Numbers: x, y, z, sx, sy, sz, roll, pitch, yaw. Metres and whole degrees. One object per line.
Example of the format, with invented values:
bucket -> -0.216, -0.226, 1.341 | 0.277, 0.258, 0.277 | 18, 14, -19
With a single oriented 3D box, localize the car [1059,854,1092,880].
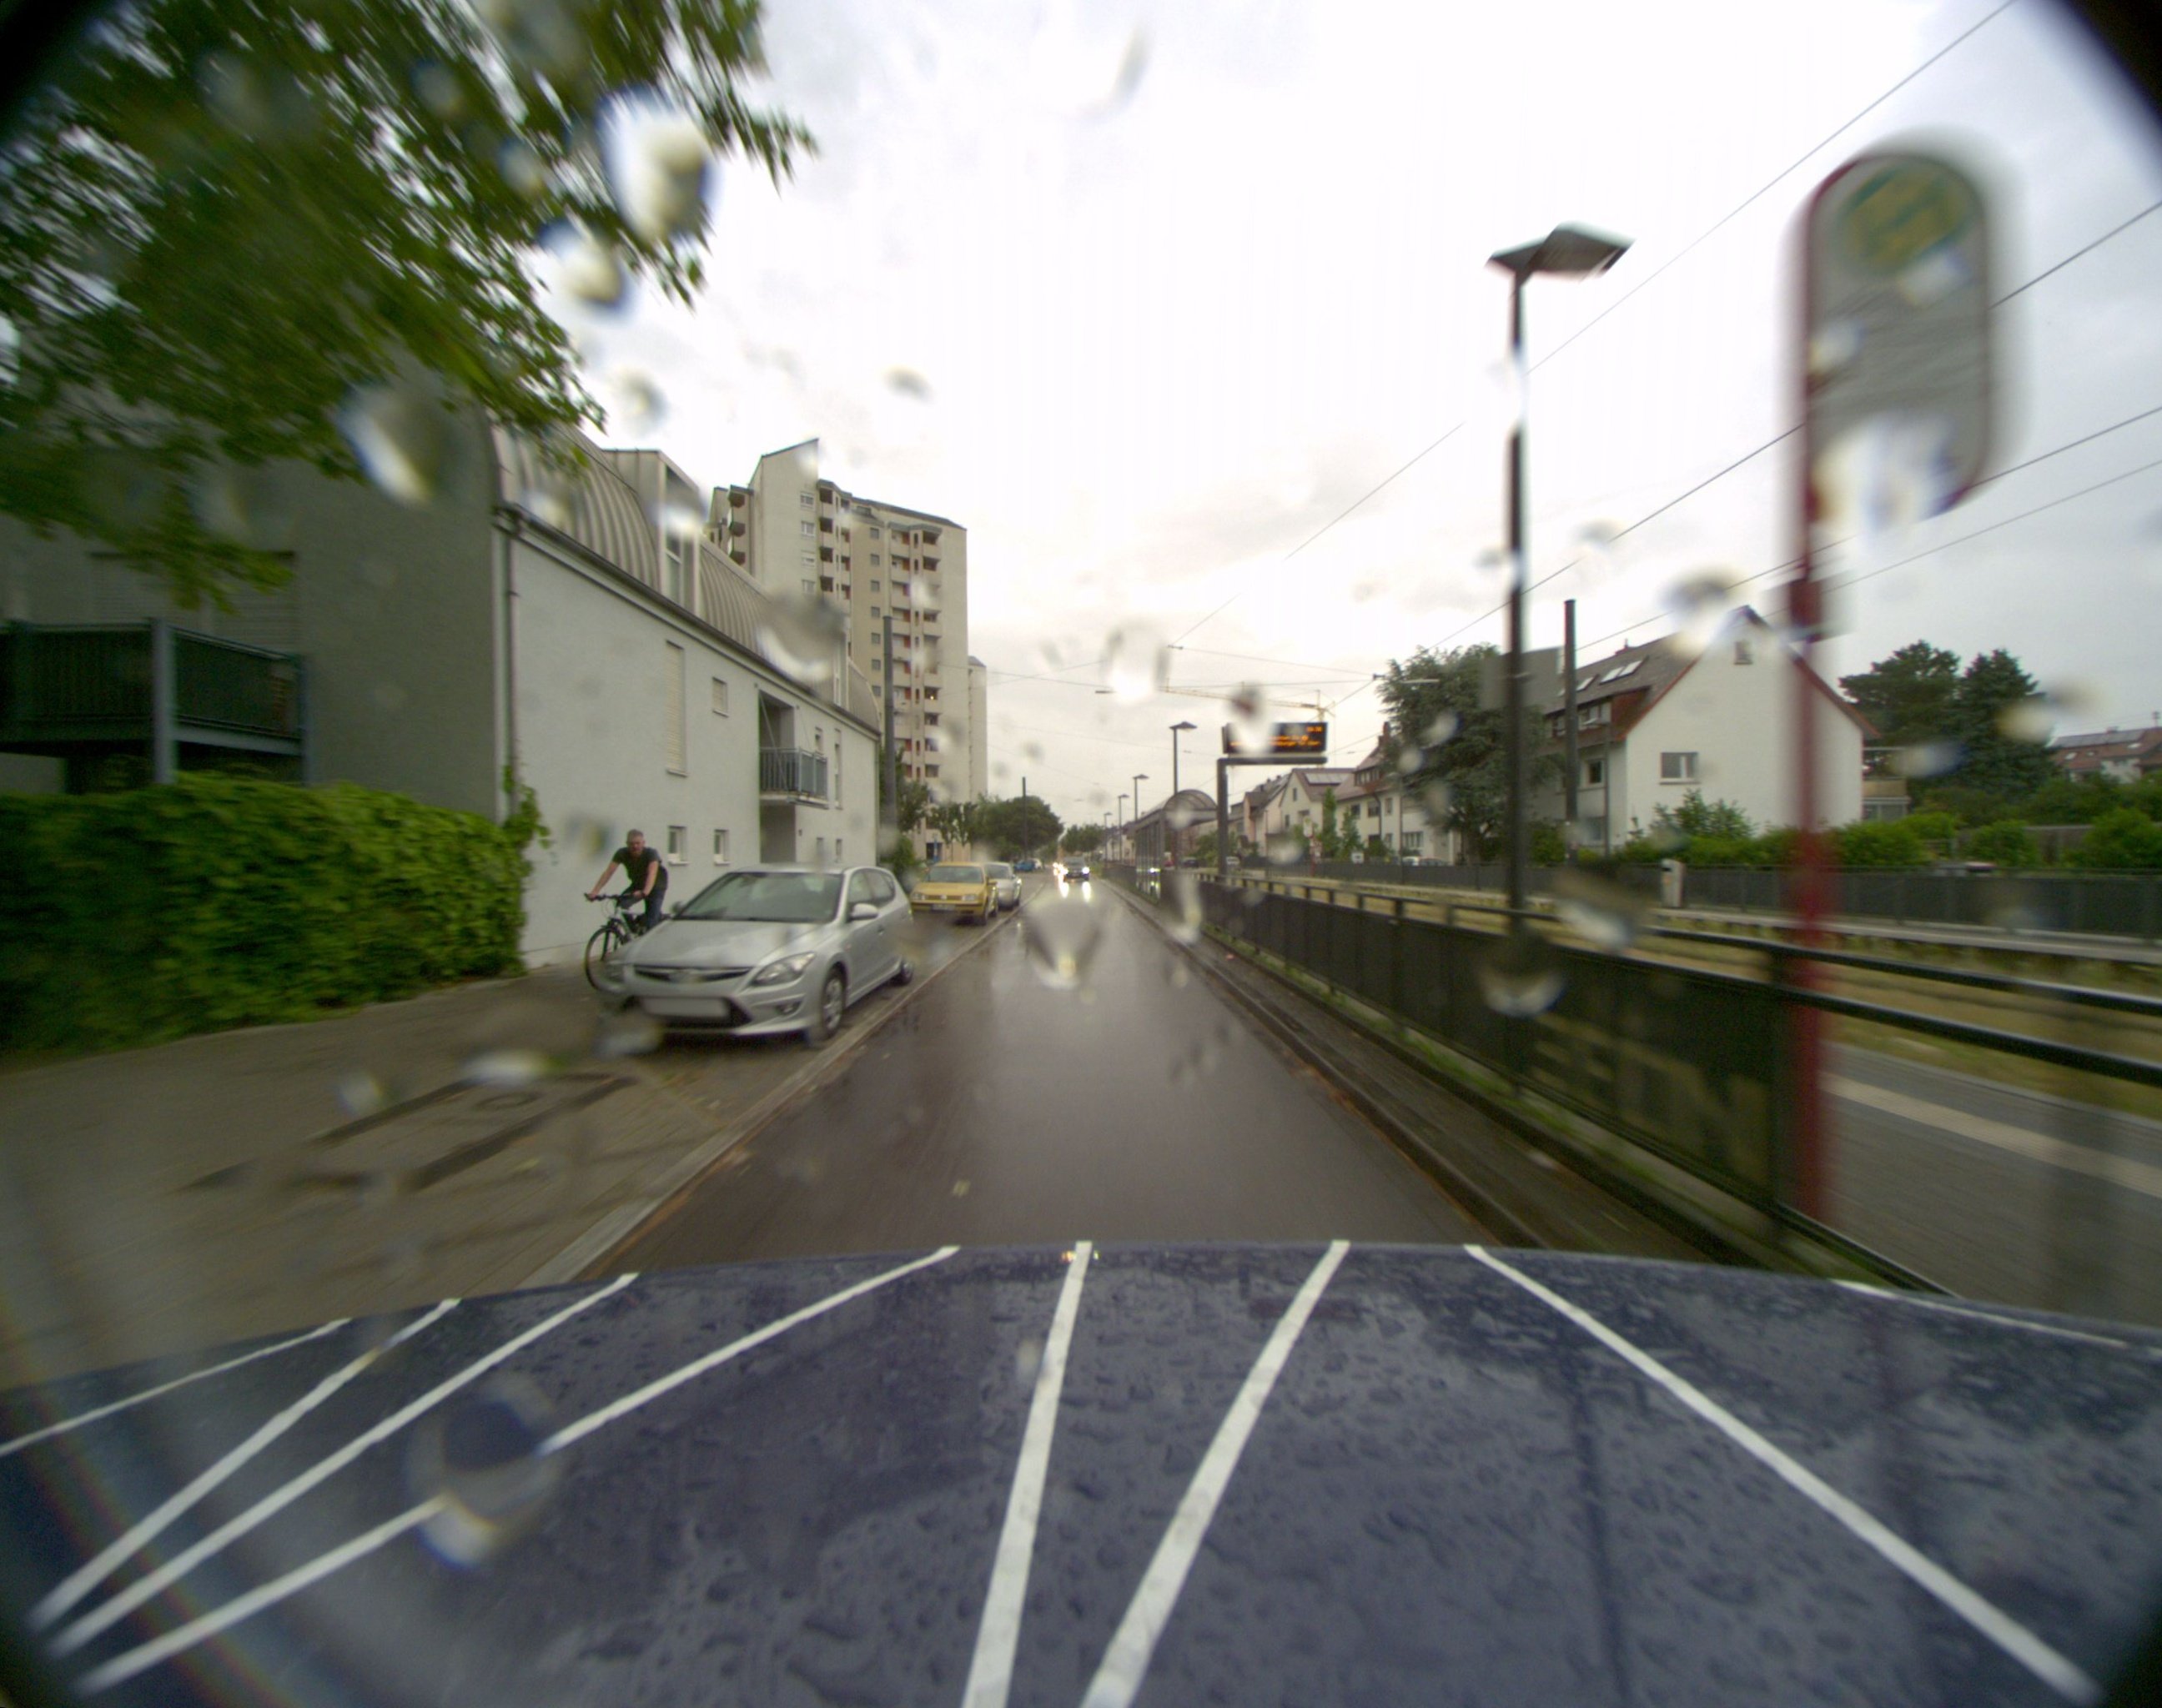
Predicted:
car -> -0.431, 0.854, 51.643 | 1.999, 1.611, 3.998 | -2, 1, -3

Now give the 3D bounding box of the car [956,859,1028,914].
car -> -2.711, 0.952, 24.099 | 1.654, 1.397, 4.648 | 2, 1, 0

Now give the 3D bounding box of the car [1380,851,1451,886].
car -> 15.762, 0.639, 35.981 | 1.637, 1.485, 4.000 | -2, 1, 1

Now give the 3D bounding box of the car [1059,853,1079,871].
car -> -1.301, 0.834, 79.952 | 1.999, 1.762, 3.999 | -2, 1, -1

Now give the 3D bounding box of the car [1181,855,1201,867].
car -> 14.440, 0.927, 99.895 | 1.842, 1.418, 4.173 | -2, -1, -3

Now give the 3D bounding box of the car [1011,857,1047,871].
car -> -6.426, 1.251, 93.575 | 4.195, 1.538, 1.760 | 3, -2, -42

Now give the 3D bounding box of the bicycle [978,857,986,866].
bicycle -> -11.584, 0.821, 89.007 | 0.663, 1.000, 2.057 | -2, 1, -2

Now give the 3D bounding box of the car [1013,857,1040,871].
car -> -6.024, 1.080, 84.214 | 2.570, 1.539, 1.598 | -1, 1, -42

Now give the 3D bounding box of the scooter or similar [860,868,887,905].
scooter or similar -> -6.508, 1.007, 23.894 | 0.334, 1.079, 1.396 | -1, 1, 5

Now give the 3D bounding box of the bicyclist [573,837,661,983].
bicyclist -> -5.193, 0.598, 8.546 | 0.535, 1.550, 0.772 | -2, 1, -8

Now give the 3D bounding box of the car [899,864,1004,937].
car -> -3.001, 1.031, 18.363 | 1.811, 1.397, 3.793 | 2, 1, 0

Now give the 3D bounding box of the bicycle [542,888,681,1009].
bicycle -> -5.202, 0.990, 8.570 | 0.538, 1.087, 1.947 | -2, 1, -7

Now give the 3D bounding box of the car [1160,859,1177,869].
car -> 13.917, 1.590, 120.750 | 1.999, 1.365, 3.842 | -2, 1, -4

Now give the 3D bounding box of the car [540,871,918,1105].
car -> -2.921, 1.001, 7.316 | 1.811, 1.459, 3.793 | 2, 1, 0

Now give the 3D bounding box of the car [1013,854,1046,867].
car -> -7.286, 0.974, 108.497 | 4.471, 1.661, 1.808 | 3, -2, -40
